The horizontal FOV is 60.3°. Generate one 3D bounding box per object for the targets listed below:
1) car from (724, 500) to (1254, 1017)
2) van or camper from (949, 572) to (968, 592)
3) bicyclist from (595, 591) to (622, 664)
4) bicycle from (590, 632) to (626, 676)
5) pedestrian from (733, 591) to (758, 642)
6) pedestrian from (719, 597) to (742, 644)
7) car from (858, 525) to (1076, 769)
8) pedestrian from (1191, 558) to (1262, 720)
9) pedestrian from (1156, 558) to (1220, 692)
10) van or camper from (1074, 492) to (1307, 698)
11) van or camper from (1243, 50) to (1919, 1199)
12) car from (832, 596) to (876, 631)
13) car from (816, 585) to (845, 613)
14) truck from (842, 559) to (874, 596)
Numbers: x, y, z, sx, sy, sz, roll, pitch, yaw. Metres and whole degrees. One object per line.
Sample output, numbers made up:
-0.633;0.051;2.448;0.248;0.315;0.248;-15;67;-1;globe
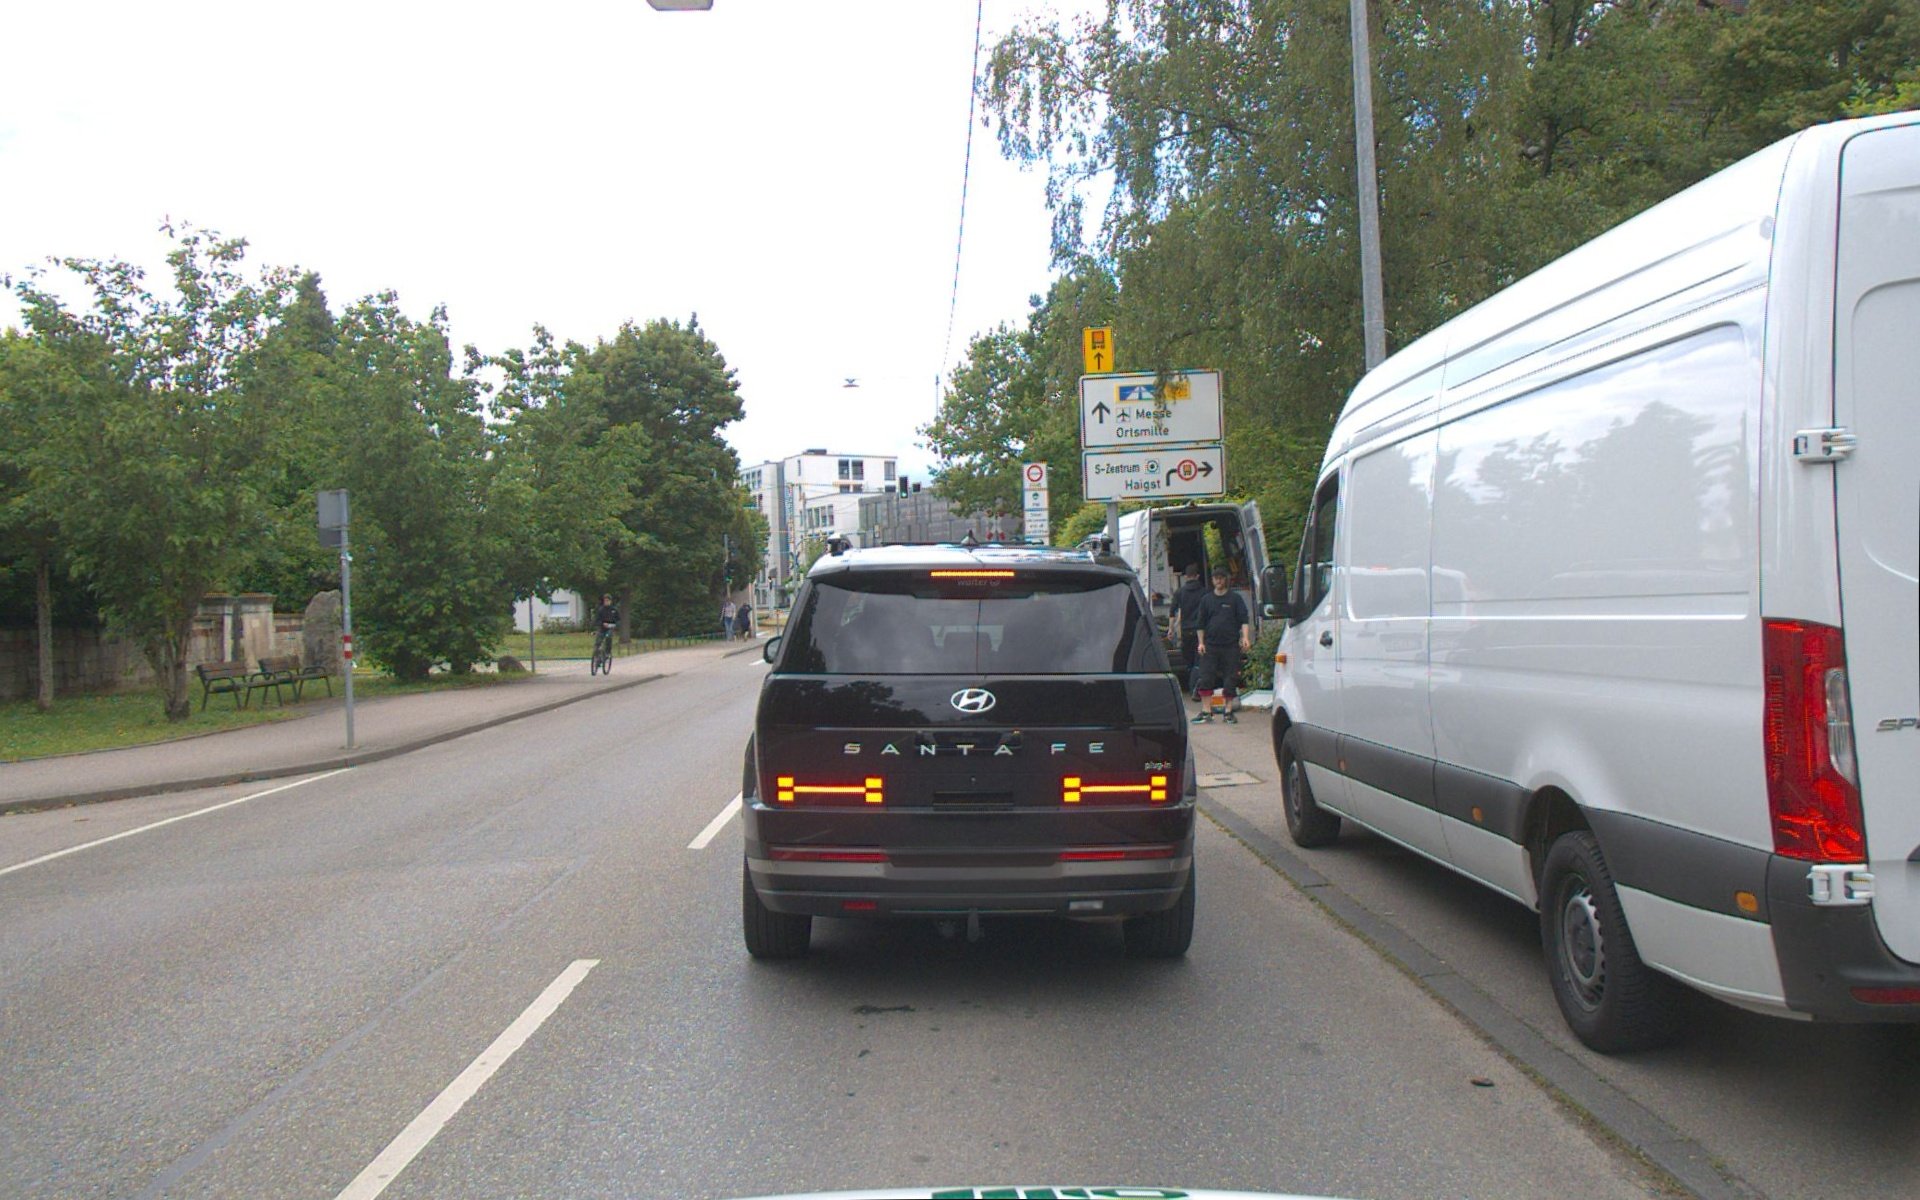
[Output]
0.080;0.573;7.879;1.858;1.807;3.993;1;0;-1;car
-0.173;-1.897;172.519;1.760;2.033;3.820;1;0;-4;van or camper
-8.369;0.644;39.388;0.477;1.713;0.588;1;-1;-1;bicyclist
-8.383;1.272;39.410;0.485;0.981;1.748;1;0;-1;bicycle
-8.825;0.682;68.010;0.812;2.049;1.047;1;-1;1;pedestrian
-8.917;0.798;64.201;0.751;1.779;0.904;0;0;0;pedestrian
0.038;0.416;16.344;1.858;2.077;3.993;1;0;-1;car
2.954;0.422;18.322;0.734;1.751;0.792;1;-1;10;pedestrian
2.969;0.322;21.593;0.721;1.672;0.802;-3;-1;5;pedestrian
3.299;-0.022;25.331;2.294;2.537;6.600;-5;-1;-2;van or camper
2.887;0.036;7.050;1.951;2.670;6.543;-5;0;-1;van or camper
-4.772;0.589;74.910;1.721;1.427;4.413;-4;0;-1;car
-11.283;-0.087;144.005;2.288;2.356;4.950;-2;0;-7;car
-11.708;-2.508;188.666;3.048;3.926;9.607;-2;0;-7;truck
